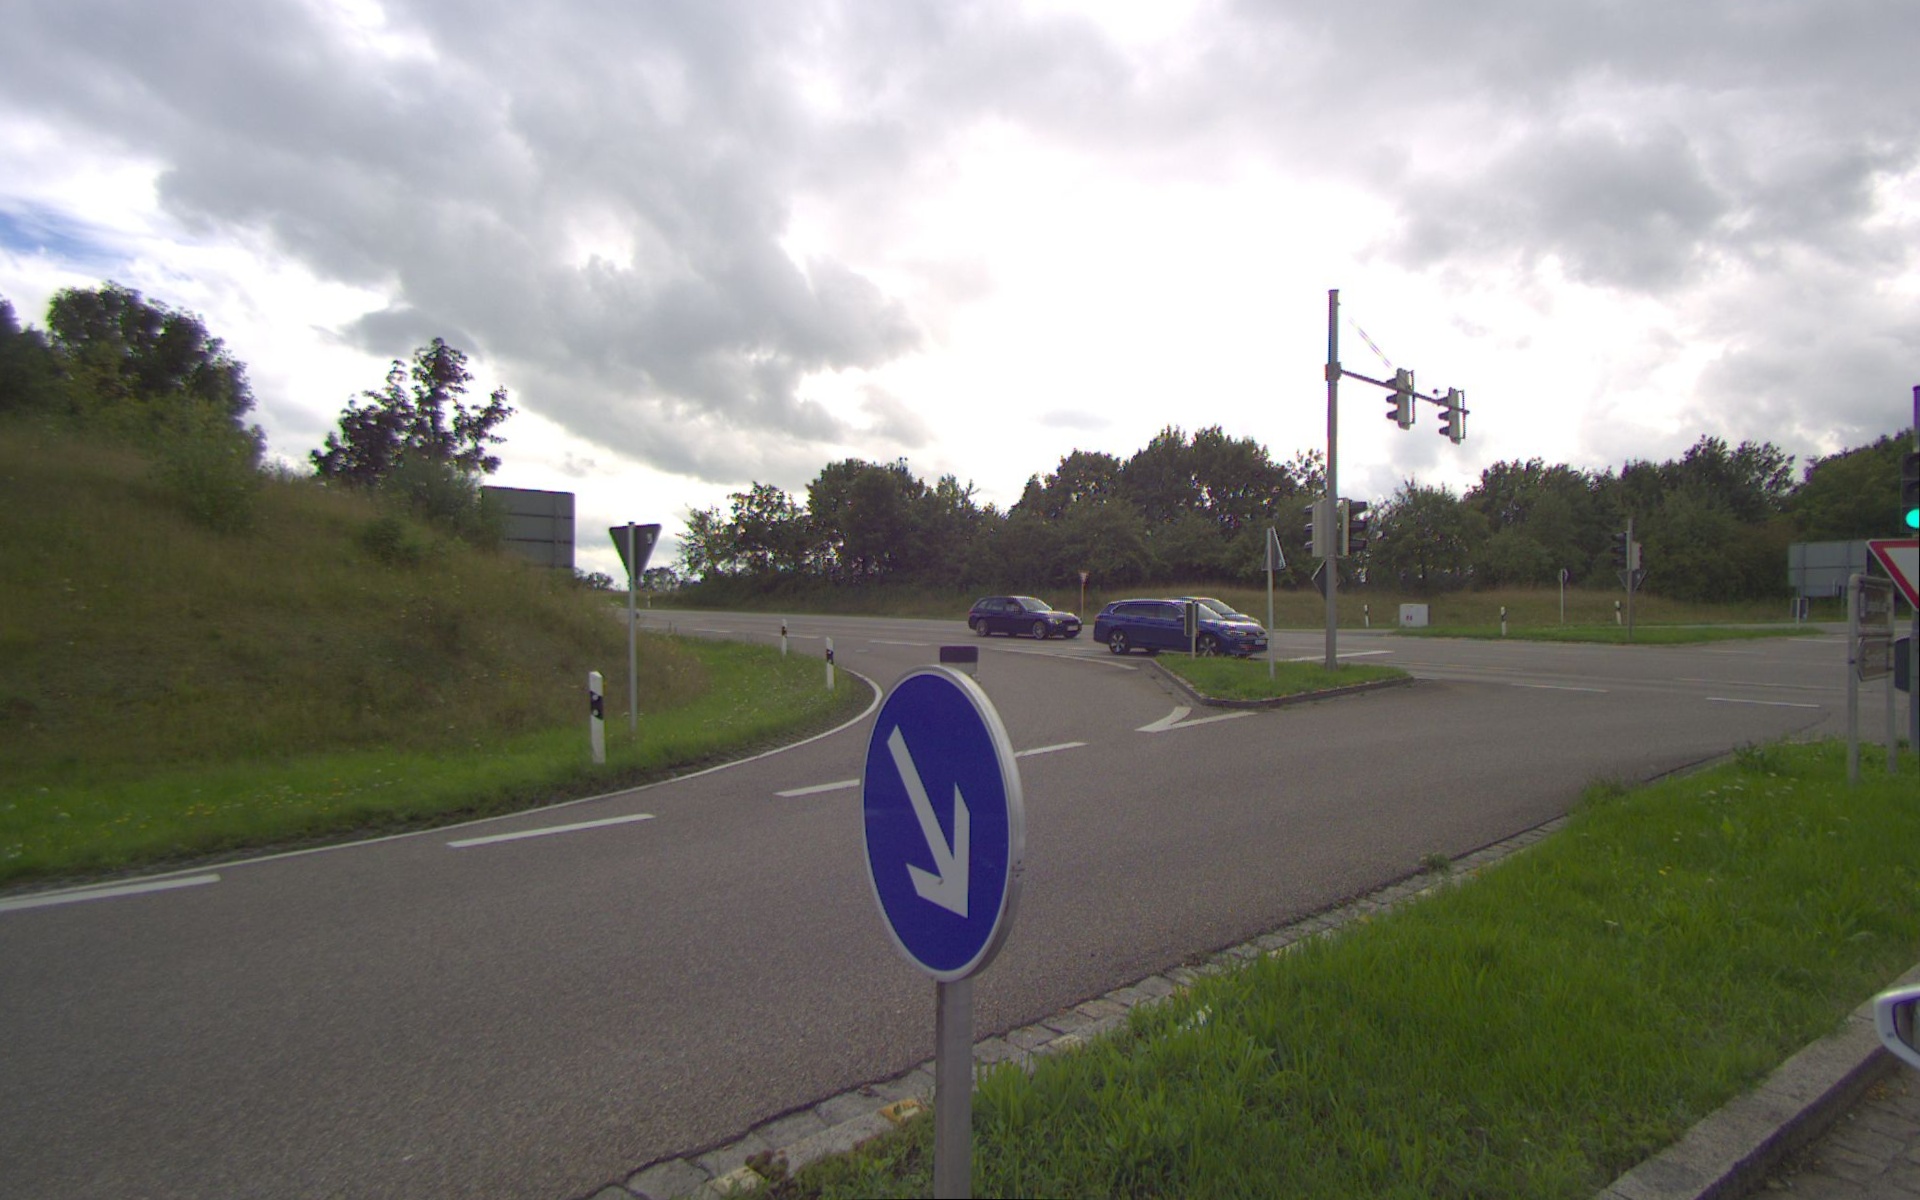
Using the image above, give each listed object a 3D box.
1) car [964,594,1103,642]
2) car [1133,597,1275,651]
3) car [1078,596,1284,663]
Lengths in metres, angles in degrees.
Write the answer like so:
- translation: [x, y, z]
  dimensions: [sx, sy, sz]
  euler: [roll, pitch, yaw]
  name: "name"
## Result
- translation: [2.542, 0.588, 35.571]
  dimensions: [2.041, 1.504, 4.818]
  euler: [-2, 2, -44]
  name: "car"
- translation: [7.301, 0.659, 30.326]
  dimensions: [1.719, 1.463, 3.894]
  euler: [-1, 1, -42]
  name: "car"
- translation: [5.766, 0.701, 26.708]
  dimensions: [2.039, 1.555, 5.057]
  euler: [-1, 1, -45]
  name: "car"
